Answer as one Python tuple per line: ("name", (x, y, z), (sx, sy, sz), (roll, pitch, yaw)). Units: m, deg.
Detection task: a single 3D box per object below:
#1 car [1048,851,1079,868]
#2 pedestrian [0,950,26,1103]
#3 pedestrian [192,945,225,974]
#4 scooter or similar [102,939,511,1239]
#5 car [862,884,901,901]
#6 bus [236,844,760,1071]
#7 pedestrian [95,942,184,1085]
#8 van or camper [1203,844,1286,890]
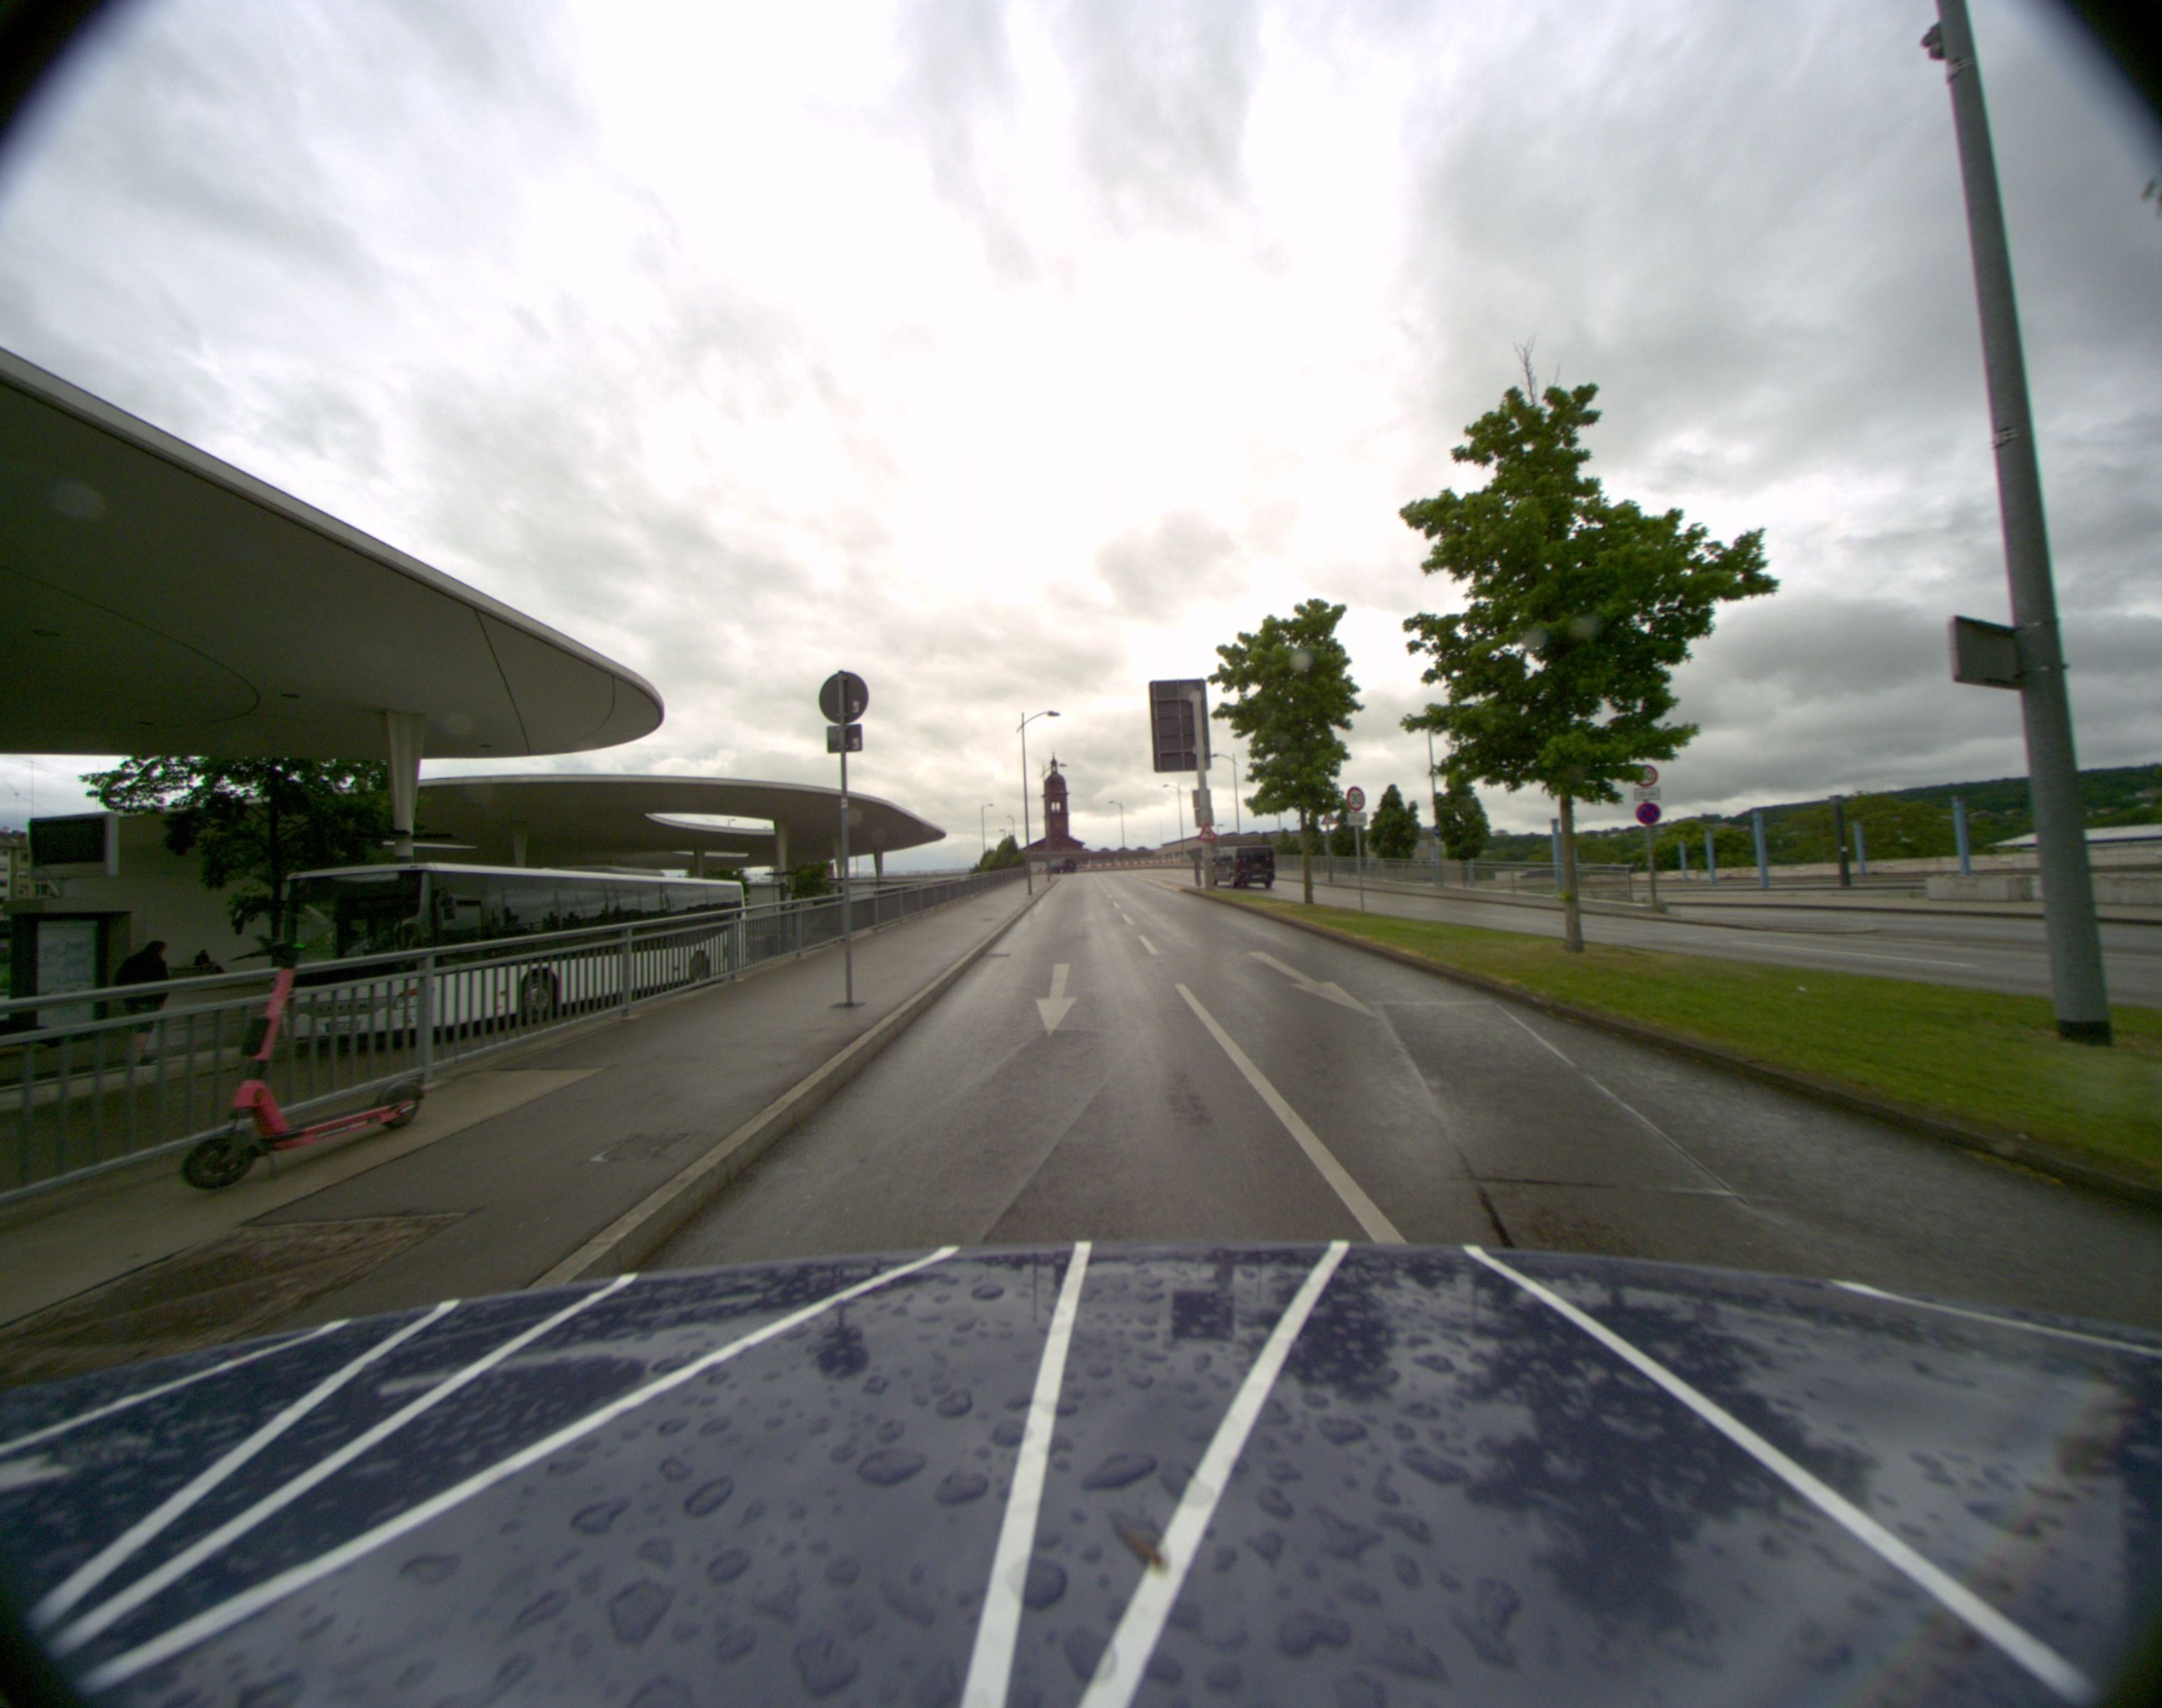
("car", (-2.217, 0.690, 95.806), (1.854, 1.956, 4.674), (-3, 1, -31))
("pedestrian", (-13.657, 2.133, 9.276), (0.585, 1.874, 0.650), (-3, -4, 10))
("pedestrian", (-45.170, 5.449, 39.344), (0.800, 1.317, 0.712), (-5, 1, 5))
("scooter or similar", (-4.263, 1.181, 4.425), (0.465, 1.213, 1.860), (-2, -2, 0))
("car", (-27.603, 5.358, 105.260), (4.683, 1.955, 2.115), (-4, -2, -3))
("bus", (-11.899, 2.047, 18.247), (2.852, 3.340, 12.434), (-5, -4, 0))
("pedestrian", (-13.417, 2.233, 10.845), (0.650, 1.892, 0.585), (-1, -2, -35))
("van or camper", (7.808, 0.588, 36.880), (2.223, 2.060, 5.279), (0, 0, -8))
